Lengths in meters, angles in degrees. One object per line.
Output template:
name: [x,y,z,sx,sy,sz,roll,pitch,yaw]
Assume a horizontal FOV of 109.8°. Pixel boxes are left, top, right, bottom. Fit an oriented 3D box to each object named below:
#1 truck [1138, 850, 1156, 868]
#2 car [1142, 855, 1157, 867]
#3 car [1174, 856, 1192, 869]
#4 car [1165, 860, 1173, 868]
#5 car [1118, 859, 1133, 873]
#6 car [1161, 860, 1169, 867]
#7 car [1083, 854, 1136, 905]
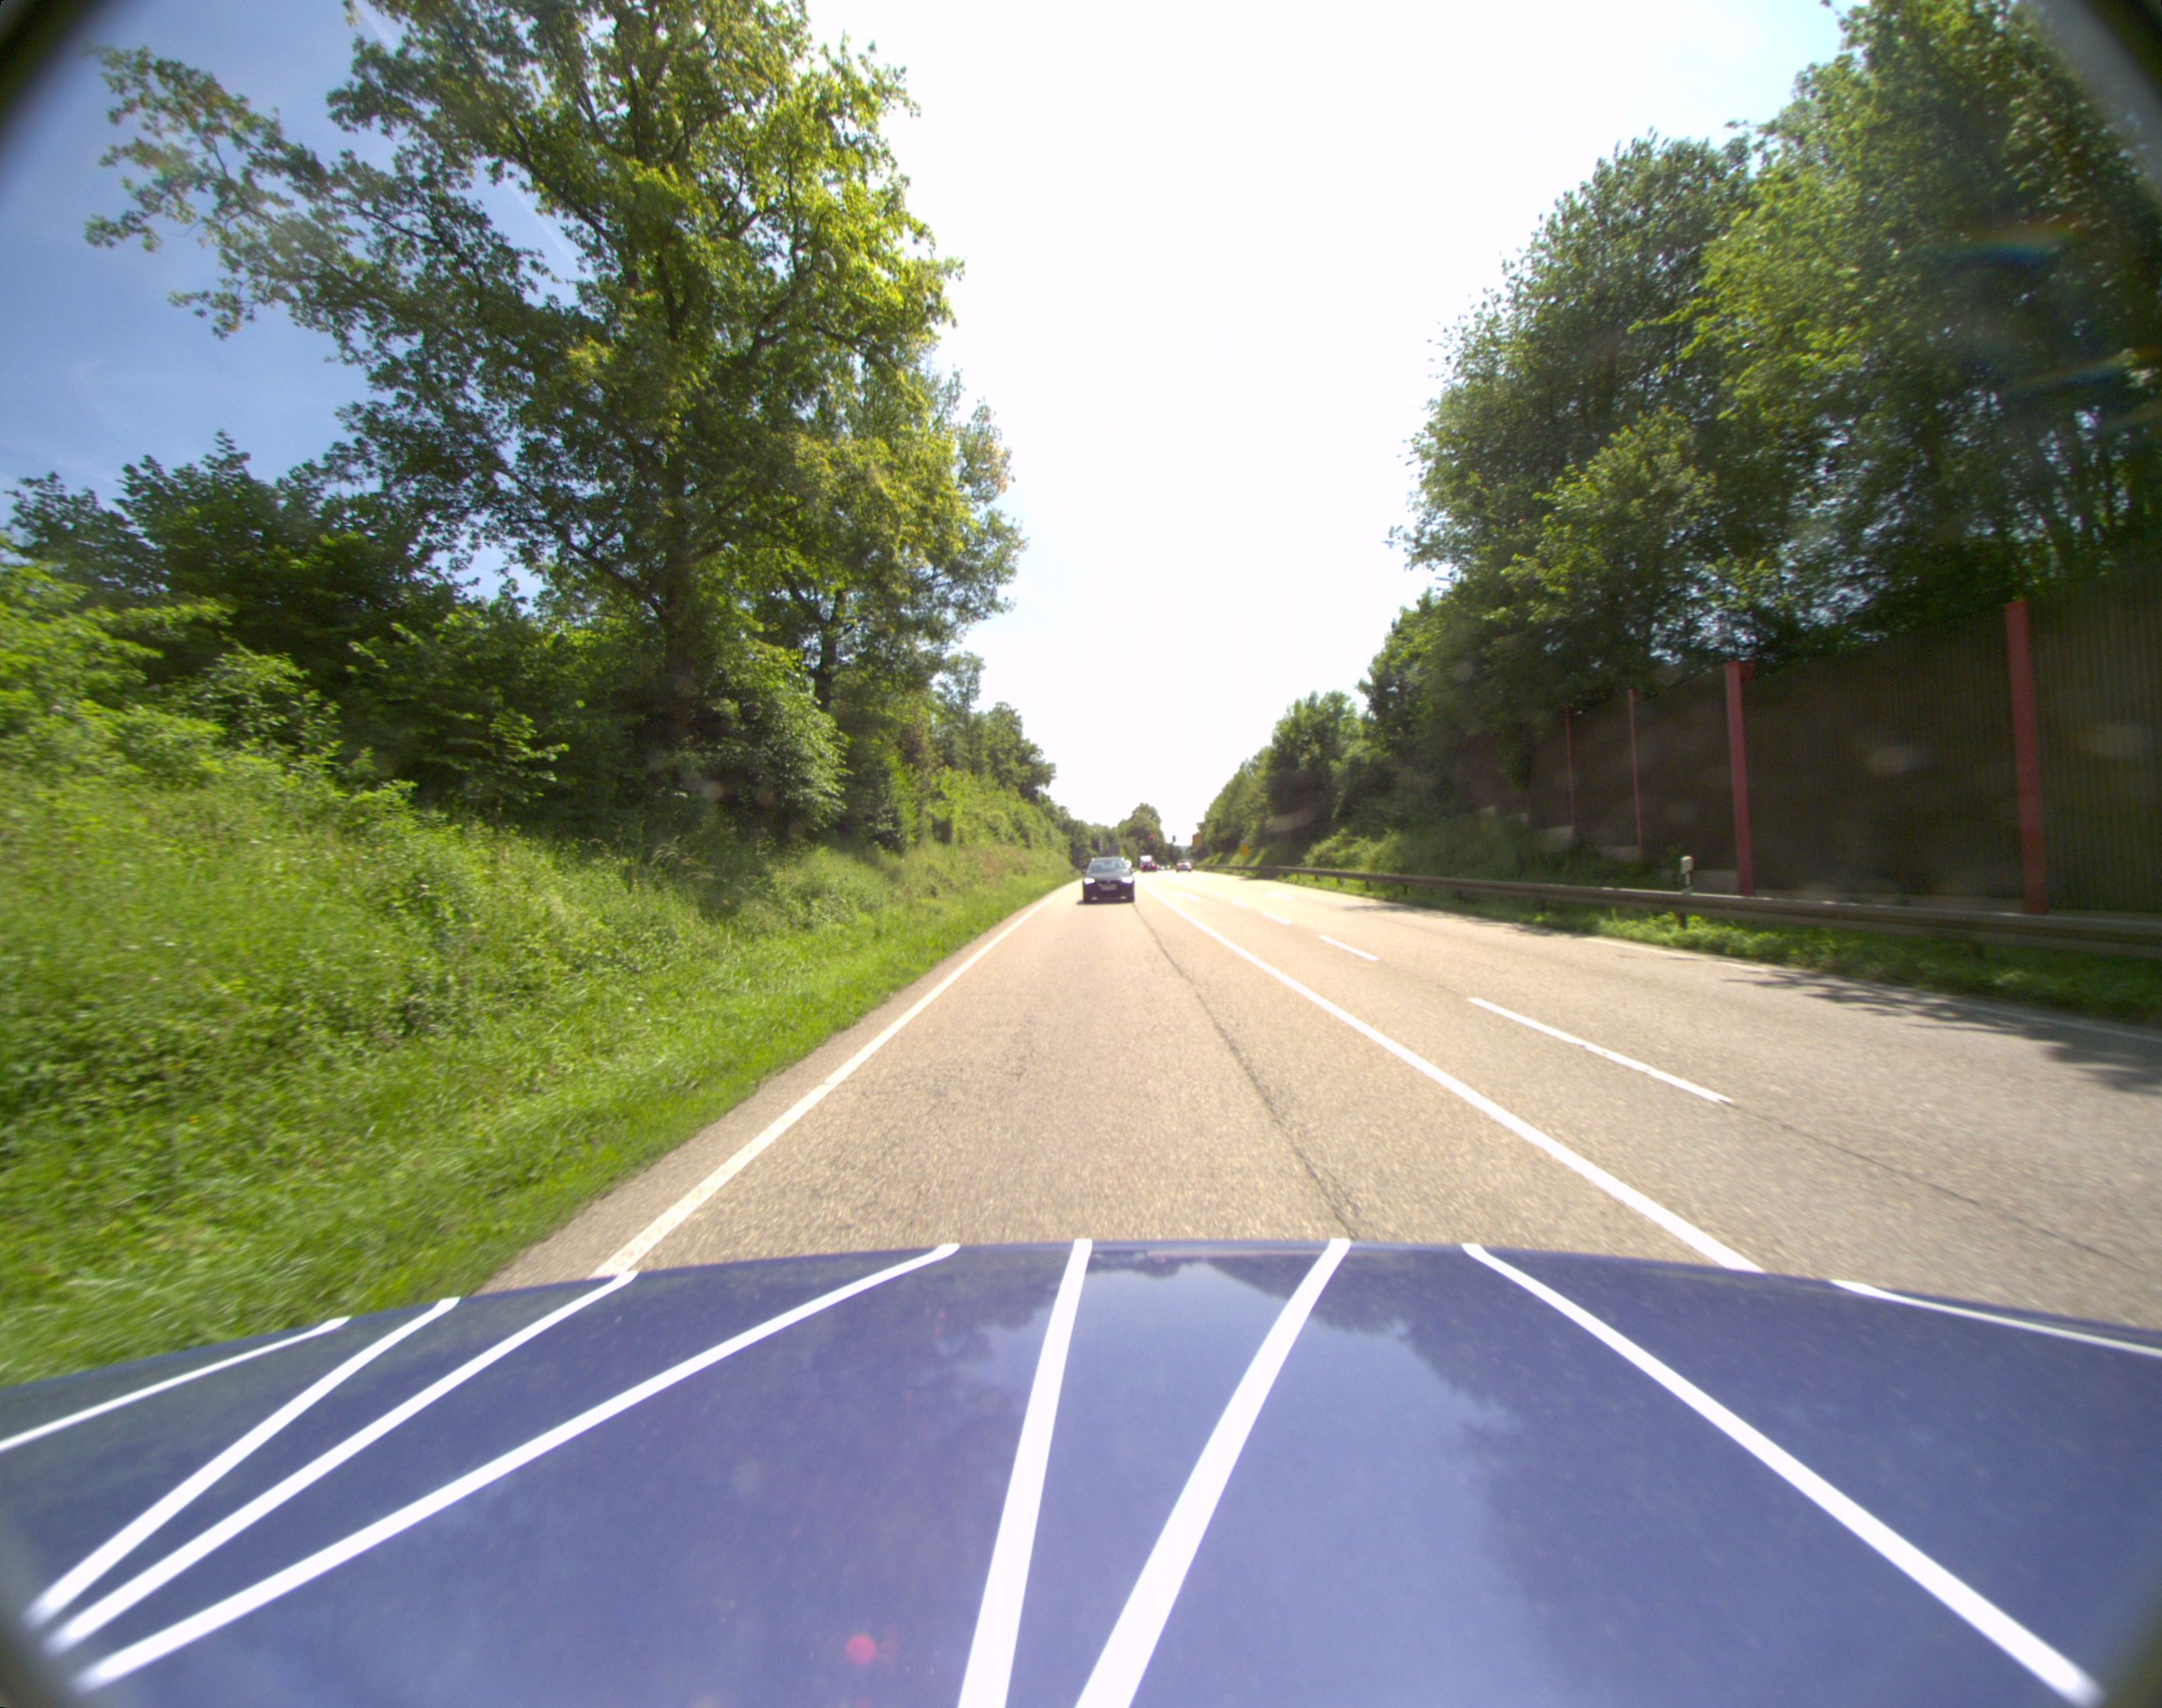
truck: [15.153,1.160,172.940,2.837,3.794,8.457,-4,0,12]
car: [8.741,0.900,96.219,1.808,1.444,4.389,-3,-1,6]
car: [11.985,1.023,89.059,1.810,1.427,3.872,-2,0,4]
car: [25.969,2.901,223.631,1.997,2.001,4.003,-4,-1,9]
car: [6.944,1.811,117.824,1.998,2.001,4.002,-4,-1,6]
car: [23.215,2.572,209.538,1.997,1.790,4.003,-4,-1,9]
car: [1.002,0.843,26.577,1.626,1.535,4.001,-4,0,2]
